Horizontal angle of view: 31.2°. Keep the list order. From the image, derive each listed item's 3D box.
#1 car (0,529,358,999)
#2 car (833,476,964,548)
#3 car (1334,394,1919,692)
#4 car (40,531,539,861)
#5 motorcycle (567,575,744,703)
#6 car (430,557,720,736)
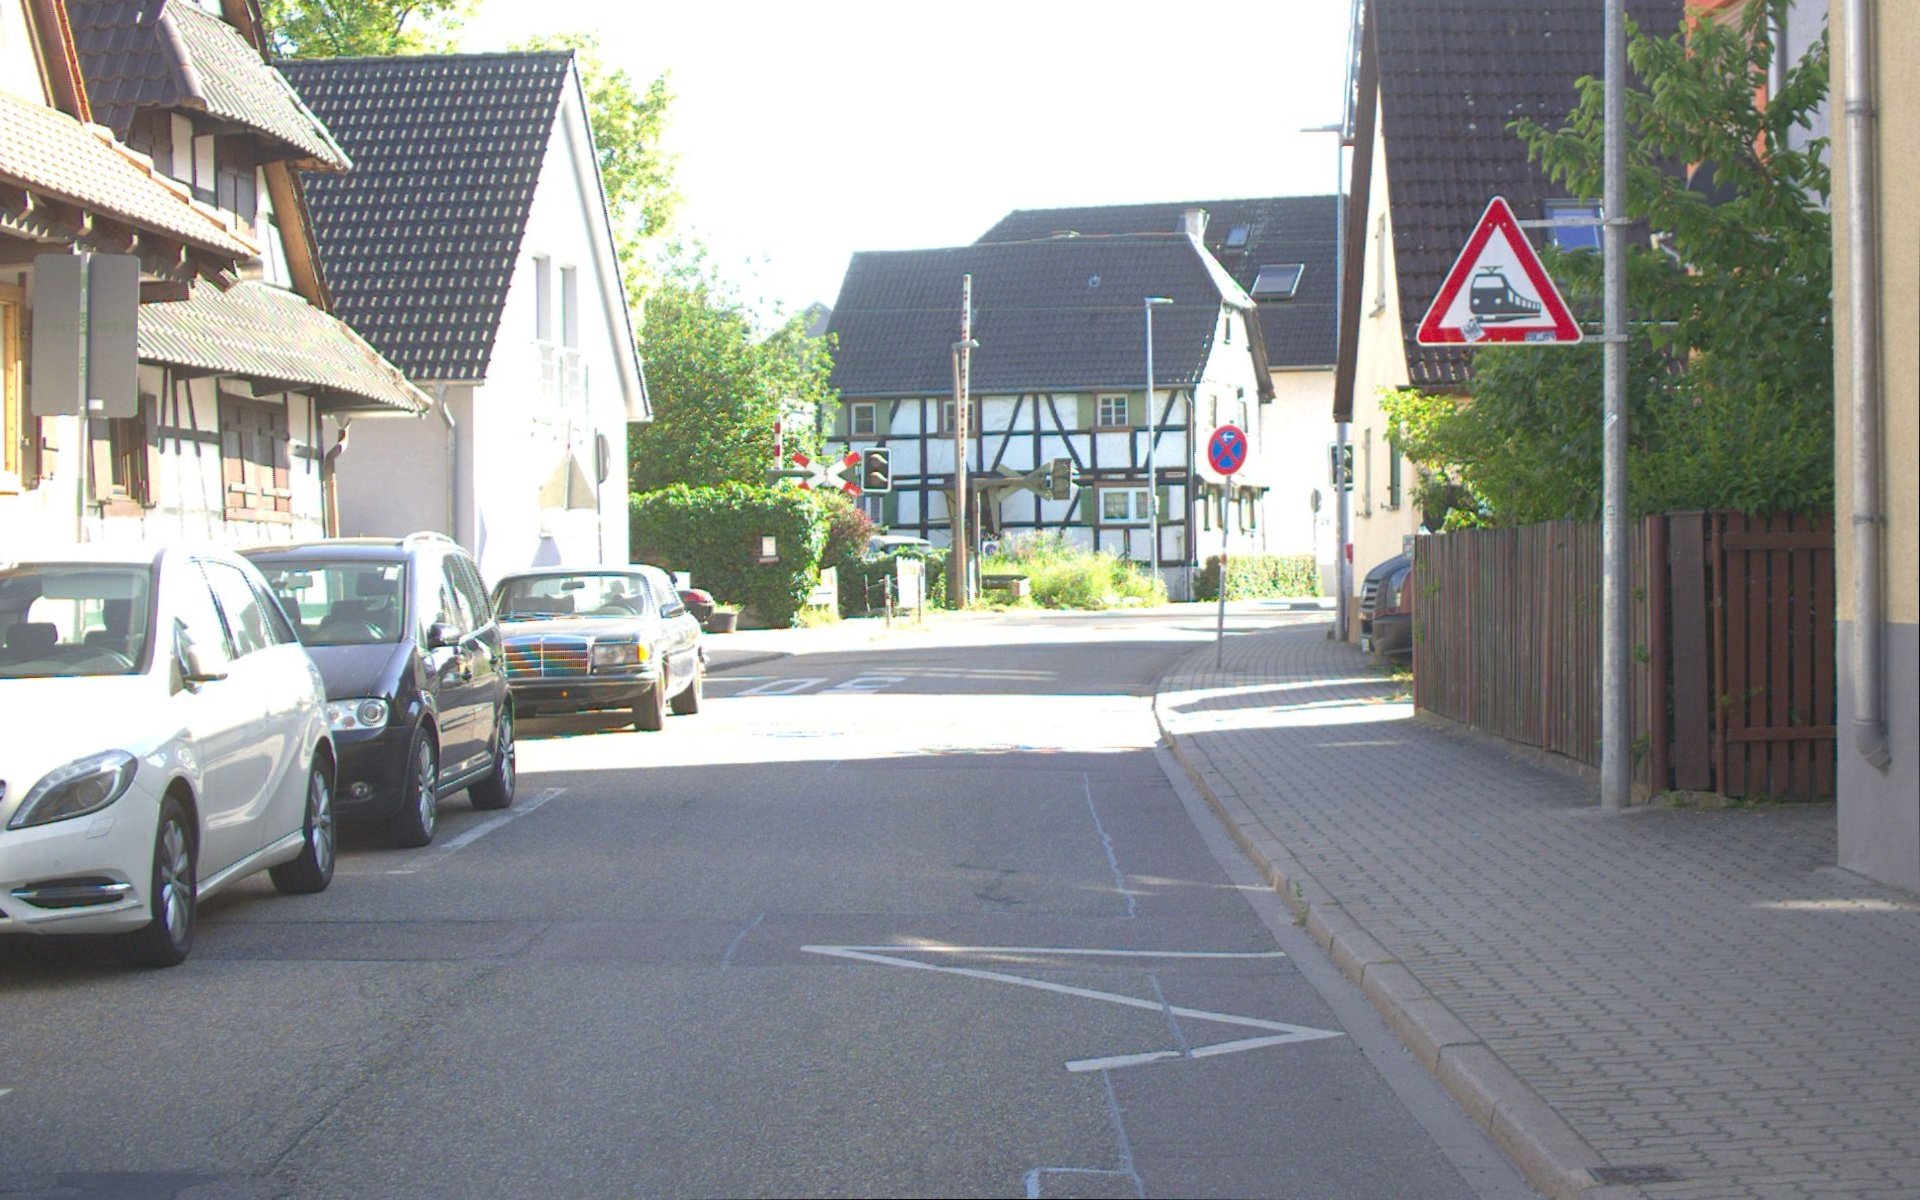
[{"bbox_3d":[-3.706,0.546,13.547,1.816,1.561,4.168,-1,0,2],"label":"car"},{"bbox_3d":[-1.453,-2.011,79.310,1.683,1.559,4.001,1,0,-22],"label":"car"},{"bbox_3d":[6.775,-0.550,33.932,5.803,2.646,1.968,-2,0,-2],"label":"car"},{"bbox_3d":[-3.555,0.450,19.038,1.784,1.599,4.361,-1,1,2],"label":"car"},{"bbox_3d":[-3.047,0.373,34.267,0.625,1.227,1.993,-2,1,-44],"label":"motorcycle"},{"bbox_3d":[-3.318,0.366,30.577,1.844,1.401,5.036,-2,0,2],"label":"car"}]
